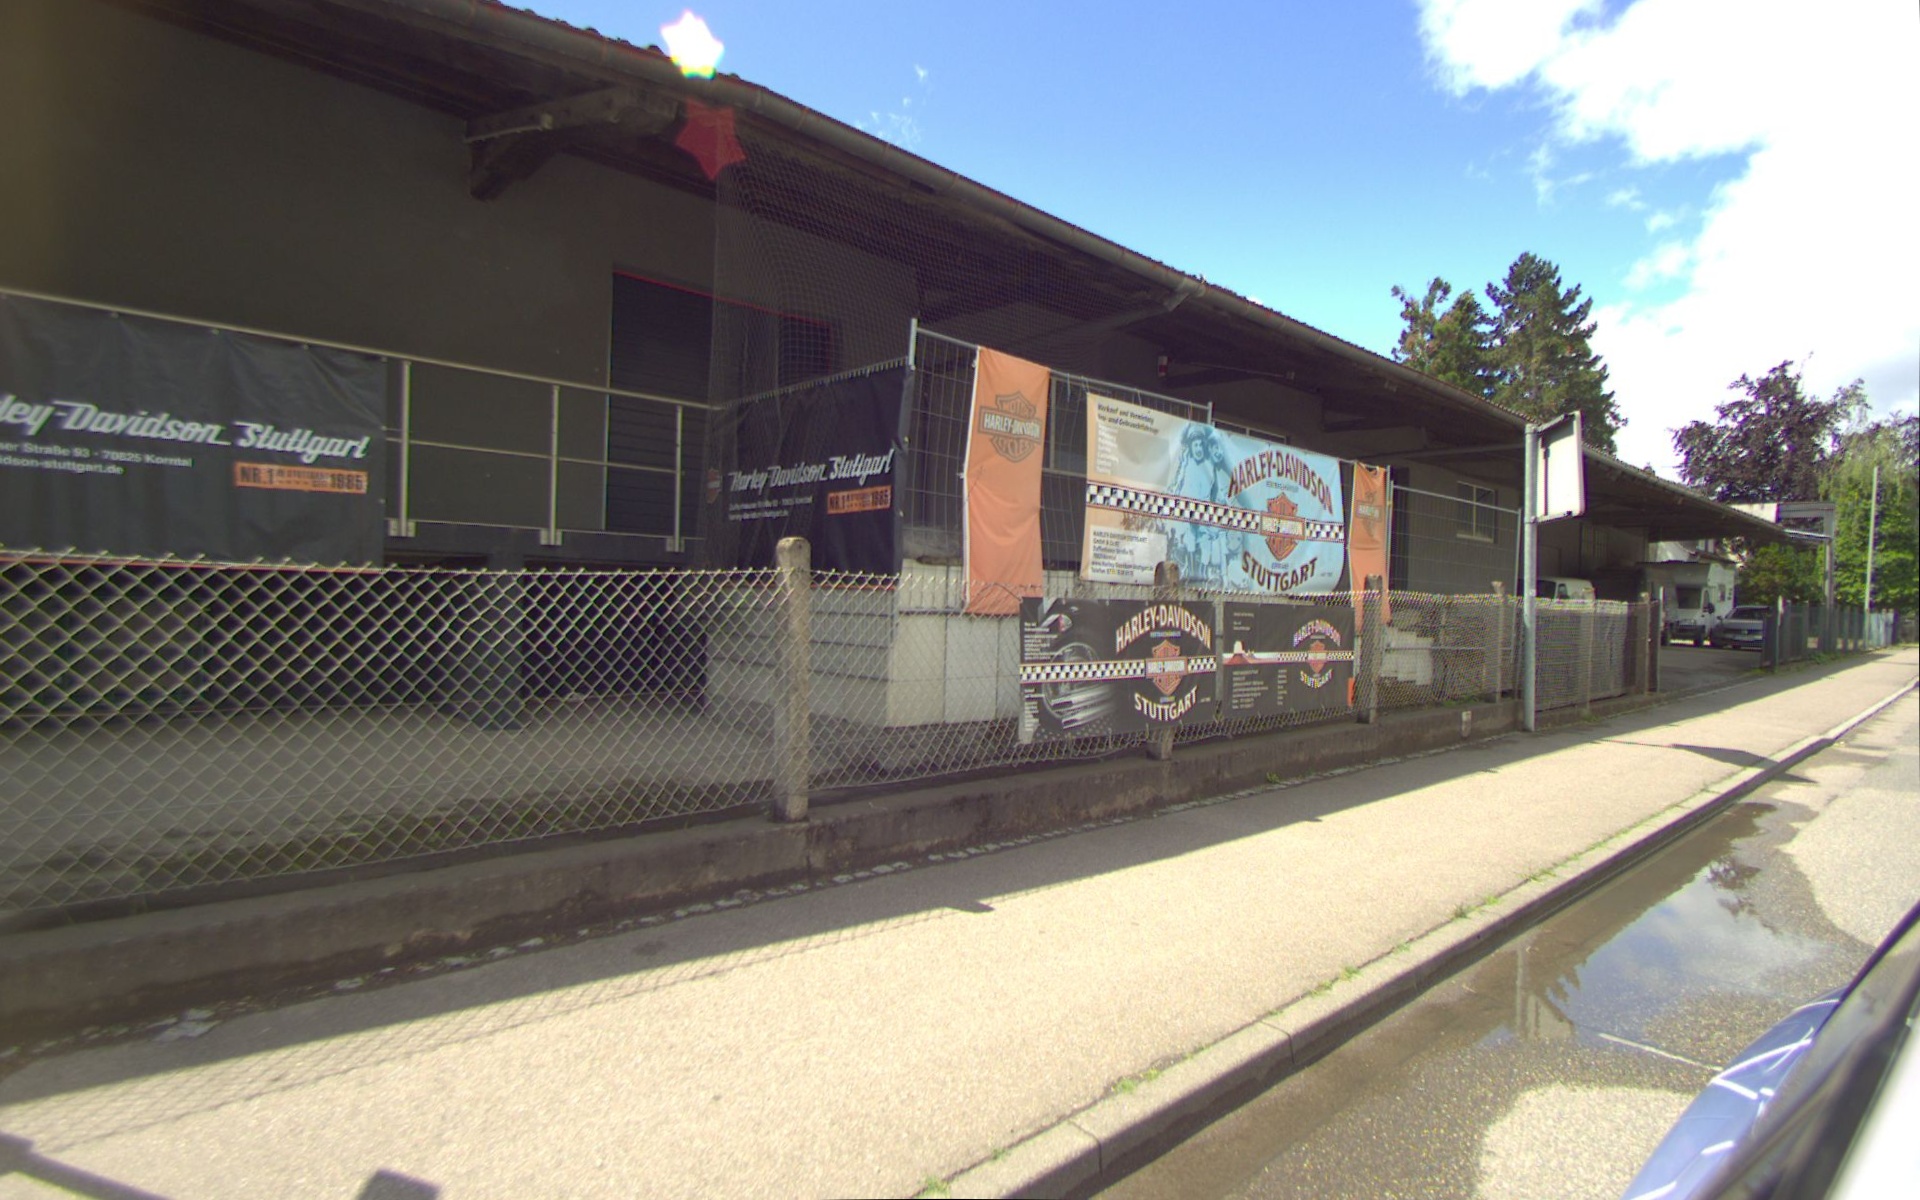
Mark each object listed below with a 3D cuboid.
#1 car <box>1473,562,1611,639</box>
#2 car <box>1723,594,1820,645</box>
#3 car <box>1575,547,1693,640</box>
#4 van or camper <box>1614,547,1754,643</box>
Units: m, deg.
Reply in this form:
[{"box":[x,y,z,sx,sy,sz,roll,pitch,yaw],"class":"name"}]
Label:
[{"box":[16.168,0.030,28.002,4.770,1.934,1.996,1,0,-43],"class":"car"},{"box":[26.223,0.612,32.630,4.842,1.508,1.766,1,0,-43],"class":"car"},{"box":[21.488,-0.145,32.164,5.406,2.715,2.019,2,-1,-44],"class":"car"},{"box":[25.924,-0.186,36.089,6.799,3.099,2.883,1,1,-44],"class":"van or camper"}]
